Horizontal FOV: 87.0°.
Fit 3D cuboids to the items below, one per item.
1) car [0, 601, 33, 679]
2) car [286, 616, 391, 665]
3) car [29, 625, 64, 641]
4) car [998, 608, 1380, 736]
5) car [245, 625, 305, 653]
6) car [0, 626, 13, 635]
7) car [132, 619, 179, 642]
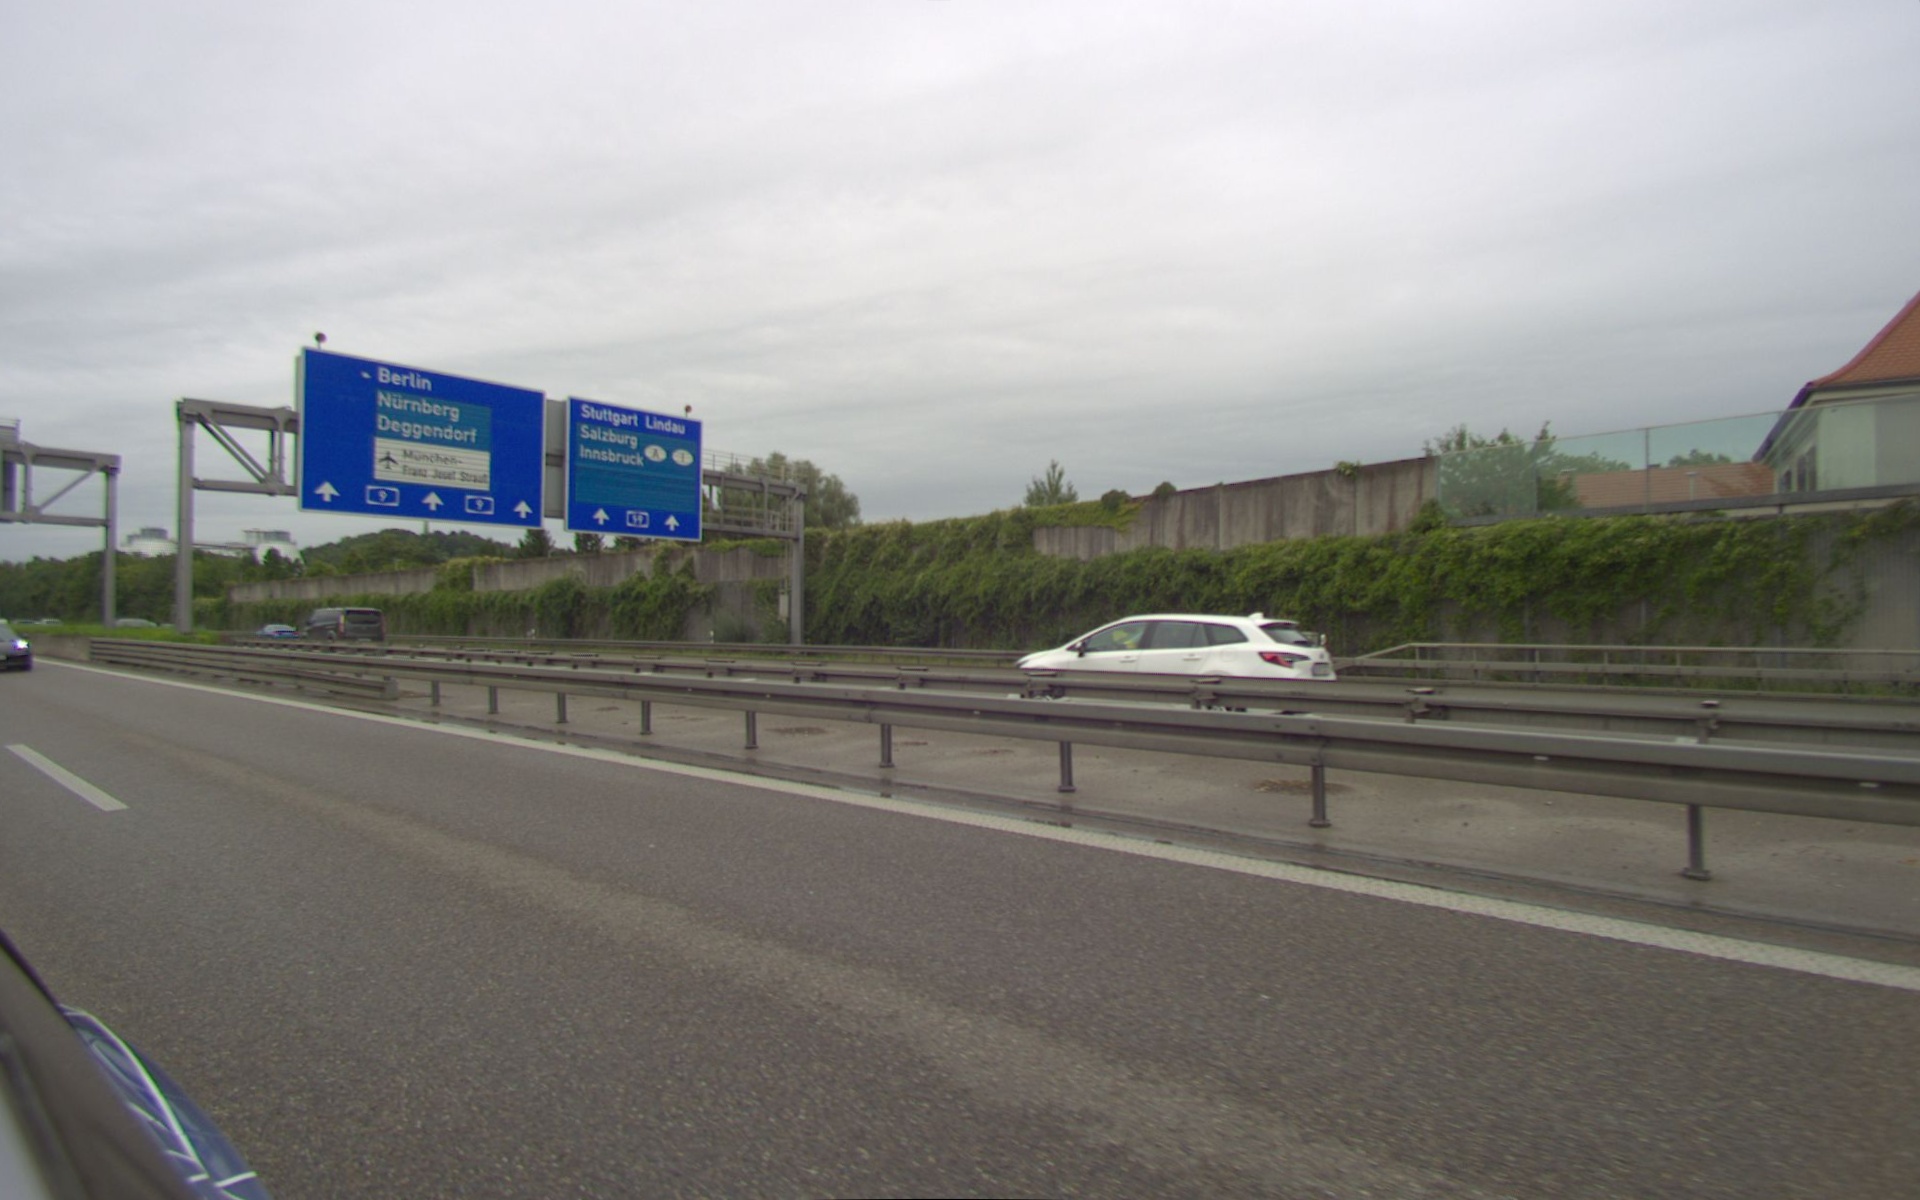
[{"bbox_3d":[-26.808,1.082,27.681,3.849,2.029,1.703,-1,0,41],"label":"car"},{"bbox_3d":[-27.572,1.715,44.768,6.267,1.987,2.186,-1,0,41],"label":"car"},{"bbox_3d":[-89.864,3.236,99.543,4.931,1.465,1.973,-1,-1,41],"label":"car"},{"bbox_3d":[2.870,0.892,13.450,4.761,1.417,1.585,-1,-5,41],"label":"car"},{"bbox_3d":[-49.798,2.808,73.534,5.751,1.888,2.186,-1,0,41],"label":"car"},{"bbox_3d":[-143.033,4.559,151.163,4.524,1.354,1.860,-1,-1,40],"label":"car"},{"bbox_3d":[-53.056,1.991,66.750,4.234,1.376,1.687,-1,0,41],"label":"car"}]
